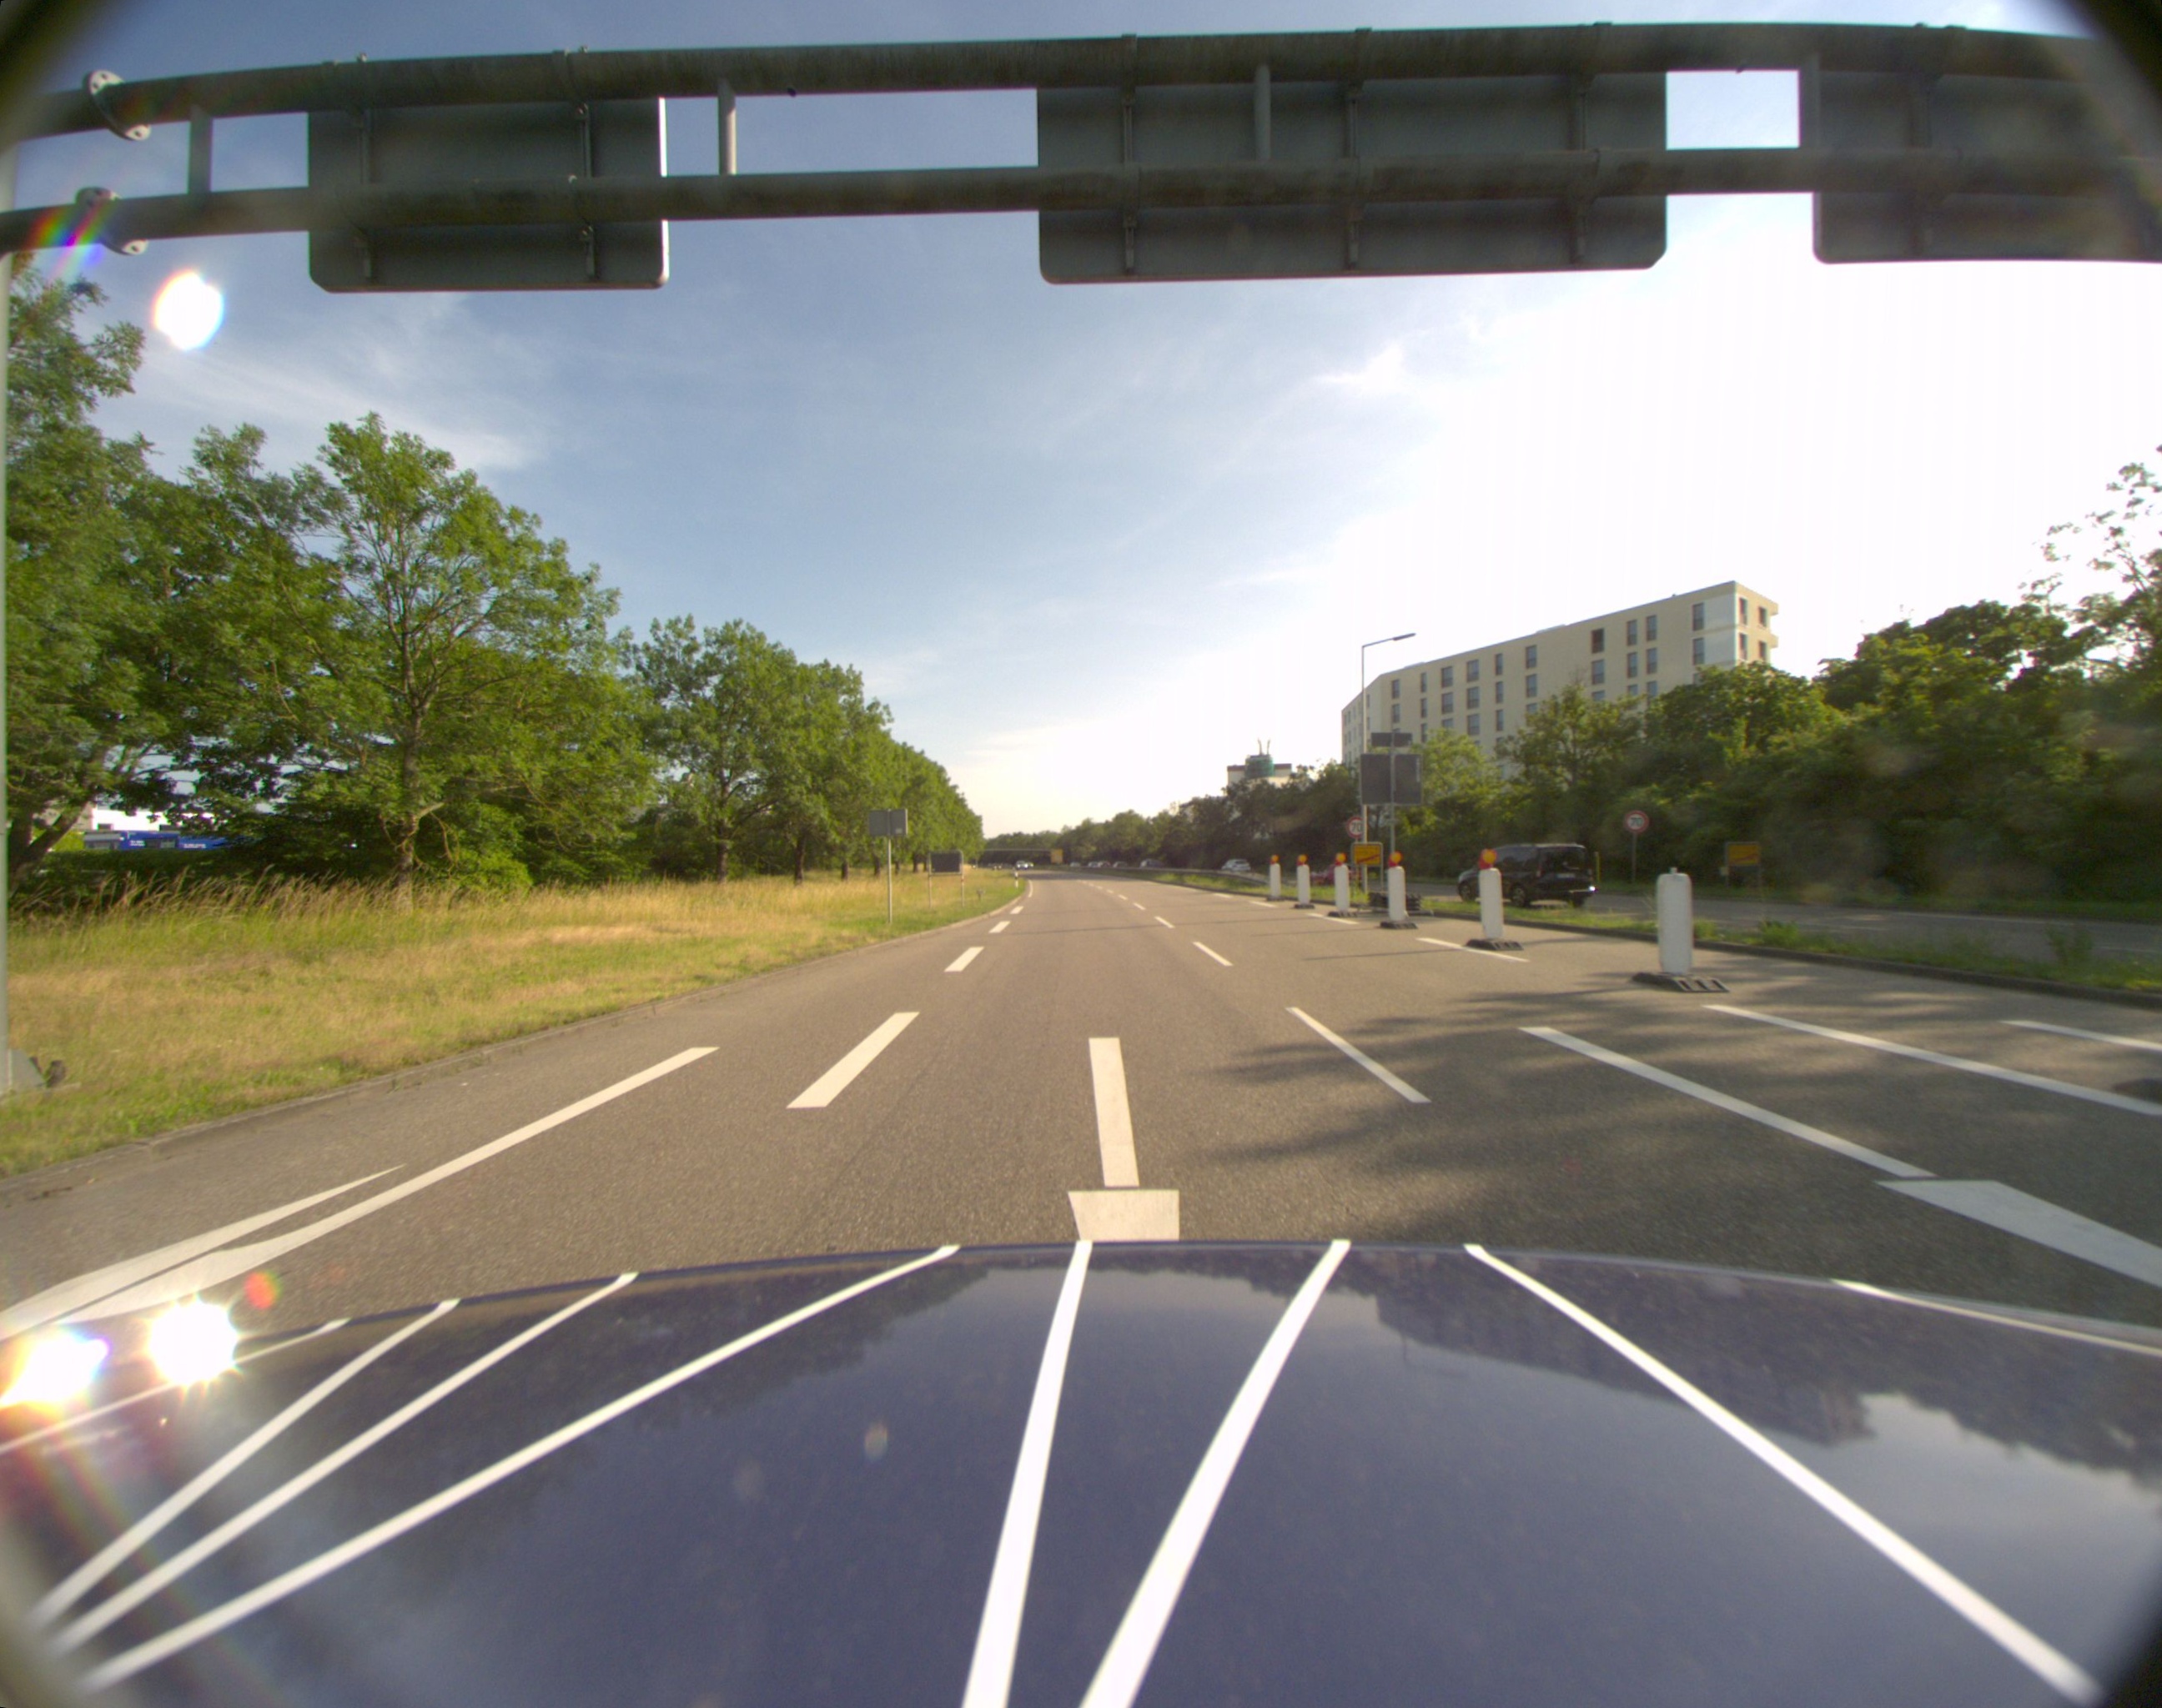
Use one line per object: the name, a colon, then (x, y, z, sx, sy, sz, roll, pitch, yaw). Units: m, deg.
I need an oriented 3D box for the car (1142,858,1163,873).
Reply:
car: (7.904, 1.275, 84.149, 1.736, 1.602, 3.523, -2, 0, -4)

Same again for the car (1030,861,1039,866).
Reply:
car: (-12.394, 2.515, 201.434, 1.647, 1.432, 4.198, -2, 0, -11)

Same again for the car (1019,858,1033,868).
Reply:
car: (-11.215, 1.869, 155.032, 1.903, 1.813, 4.351, -2, 0, -14)

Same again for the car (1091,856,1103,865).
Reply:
car: (2.634, 1.109, 123.807, 1.608, 1.433, 3.234, -2, 0, -6)

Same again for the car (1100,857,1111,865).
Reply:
car: (4.367, 1.263, 135.083, 1.607, 1.433, 3.235, -2, 0, -4)

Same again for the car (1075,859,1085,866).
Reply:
car: (-0.291, 1.851, 162.129, 1.608, 1.432, 3.233, -2, 0, -10)

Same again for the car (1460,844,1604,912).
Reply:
car: (13.148, 0.660, 22.487, 1.789, 1.796, 4.123, -1, 0, -1)

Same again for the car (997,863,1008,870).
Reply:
car: (-17.907, 2.798, 172.985, 1.903, 1.377, 4.351, -2, 0, -14)

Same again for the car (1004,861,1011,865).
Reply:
car: (-24.493, 3.047, 252.738, 1.608, 1.432, 4.197, -2, 0, -13)

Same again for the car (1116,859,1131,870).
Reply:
car: (5.808, 1.483, 103.997, 1.607, 1.432, 3.235, -2, 0, -3)

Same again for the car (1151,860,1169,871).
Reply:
car: (10.373, 1.483, 100.136, 1.673, 1.432, 3.938, -2, 0, -3)

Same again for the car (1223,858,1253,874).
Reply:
car: (13.929, 1.049, 67.643, 1.644, 1.368, 4.063, -2, 0, -2)

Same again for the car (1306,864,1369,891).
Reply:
car: (12.033, 1.063, 35.878, 1.516, 1.151, 3.671, -2, 0, -4)
